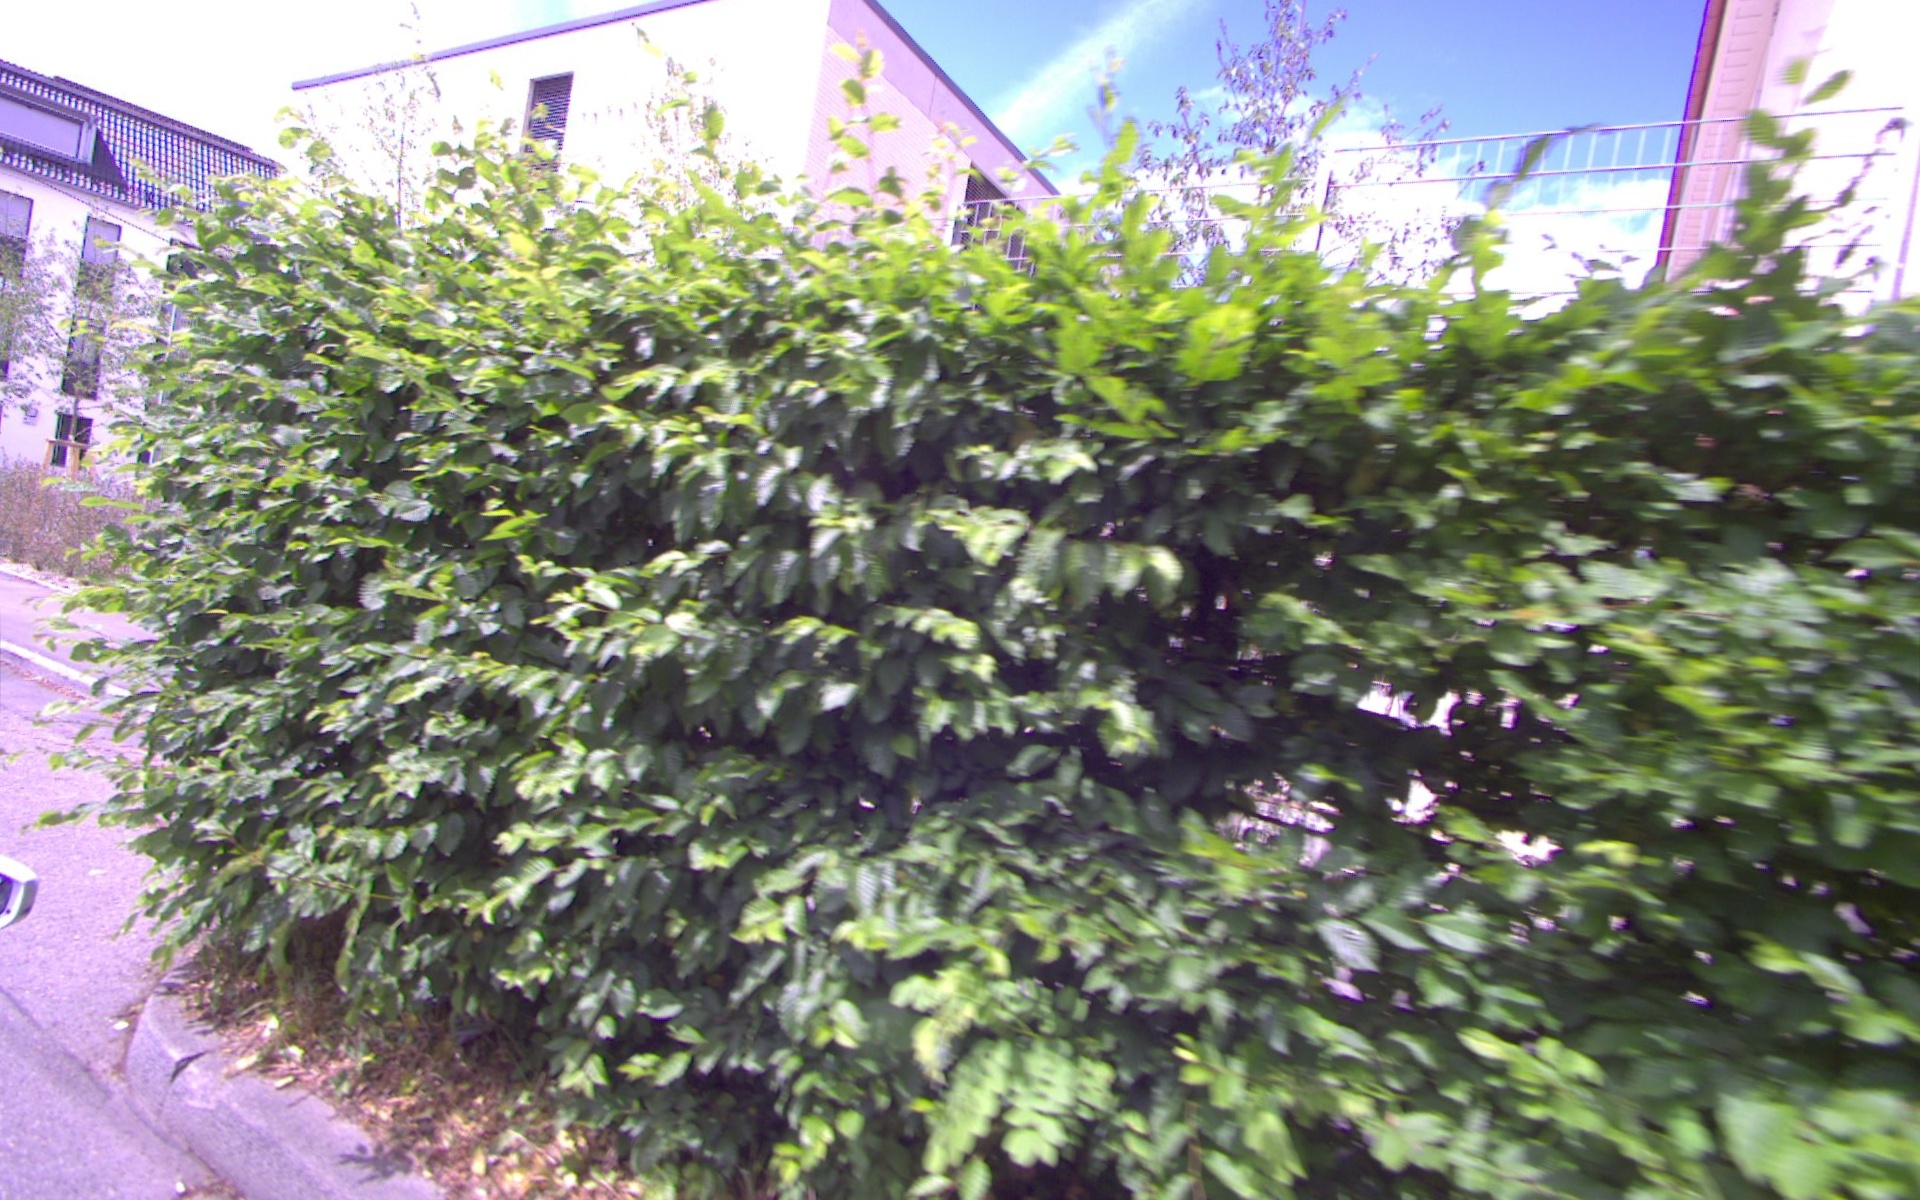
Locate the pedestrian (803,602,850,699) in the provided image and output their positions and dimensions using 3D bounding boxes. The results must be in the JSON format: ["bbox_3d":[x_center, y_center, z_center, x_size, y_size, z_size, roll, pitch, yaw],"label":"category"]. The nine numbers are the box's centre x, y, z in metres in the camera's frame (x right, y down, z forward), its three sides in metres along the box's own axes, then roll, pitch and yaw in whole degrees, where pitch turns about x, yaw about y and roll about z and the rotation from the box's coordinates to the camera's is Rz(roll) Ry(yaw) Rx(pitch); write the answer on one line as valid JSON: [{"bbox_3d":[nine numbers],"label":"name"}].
[{"bbox_3d":[-1.930,0.734,14.566,0.345,1.344,0.371,8,0,23],"label":"pedestrian"}]

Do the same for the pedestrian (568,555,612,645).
[{"bbox_3d":[-6.169,0.004,16.770,0.362,1.432,0.351,8,0,31],"label":"pedestrian"}]
